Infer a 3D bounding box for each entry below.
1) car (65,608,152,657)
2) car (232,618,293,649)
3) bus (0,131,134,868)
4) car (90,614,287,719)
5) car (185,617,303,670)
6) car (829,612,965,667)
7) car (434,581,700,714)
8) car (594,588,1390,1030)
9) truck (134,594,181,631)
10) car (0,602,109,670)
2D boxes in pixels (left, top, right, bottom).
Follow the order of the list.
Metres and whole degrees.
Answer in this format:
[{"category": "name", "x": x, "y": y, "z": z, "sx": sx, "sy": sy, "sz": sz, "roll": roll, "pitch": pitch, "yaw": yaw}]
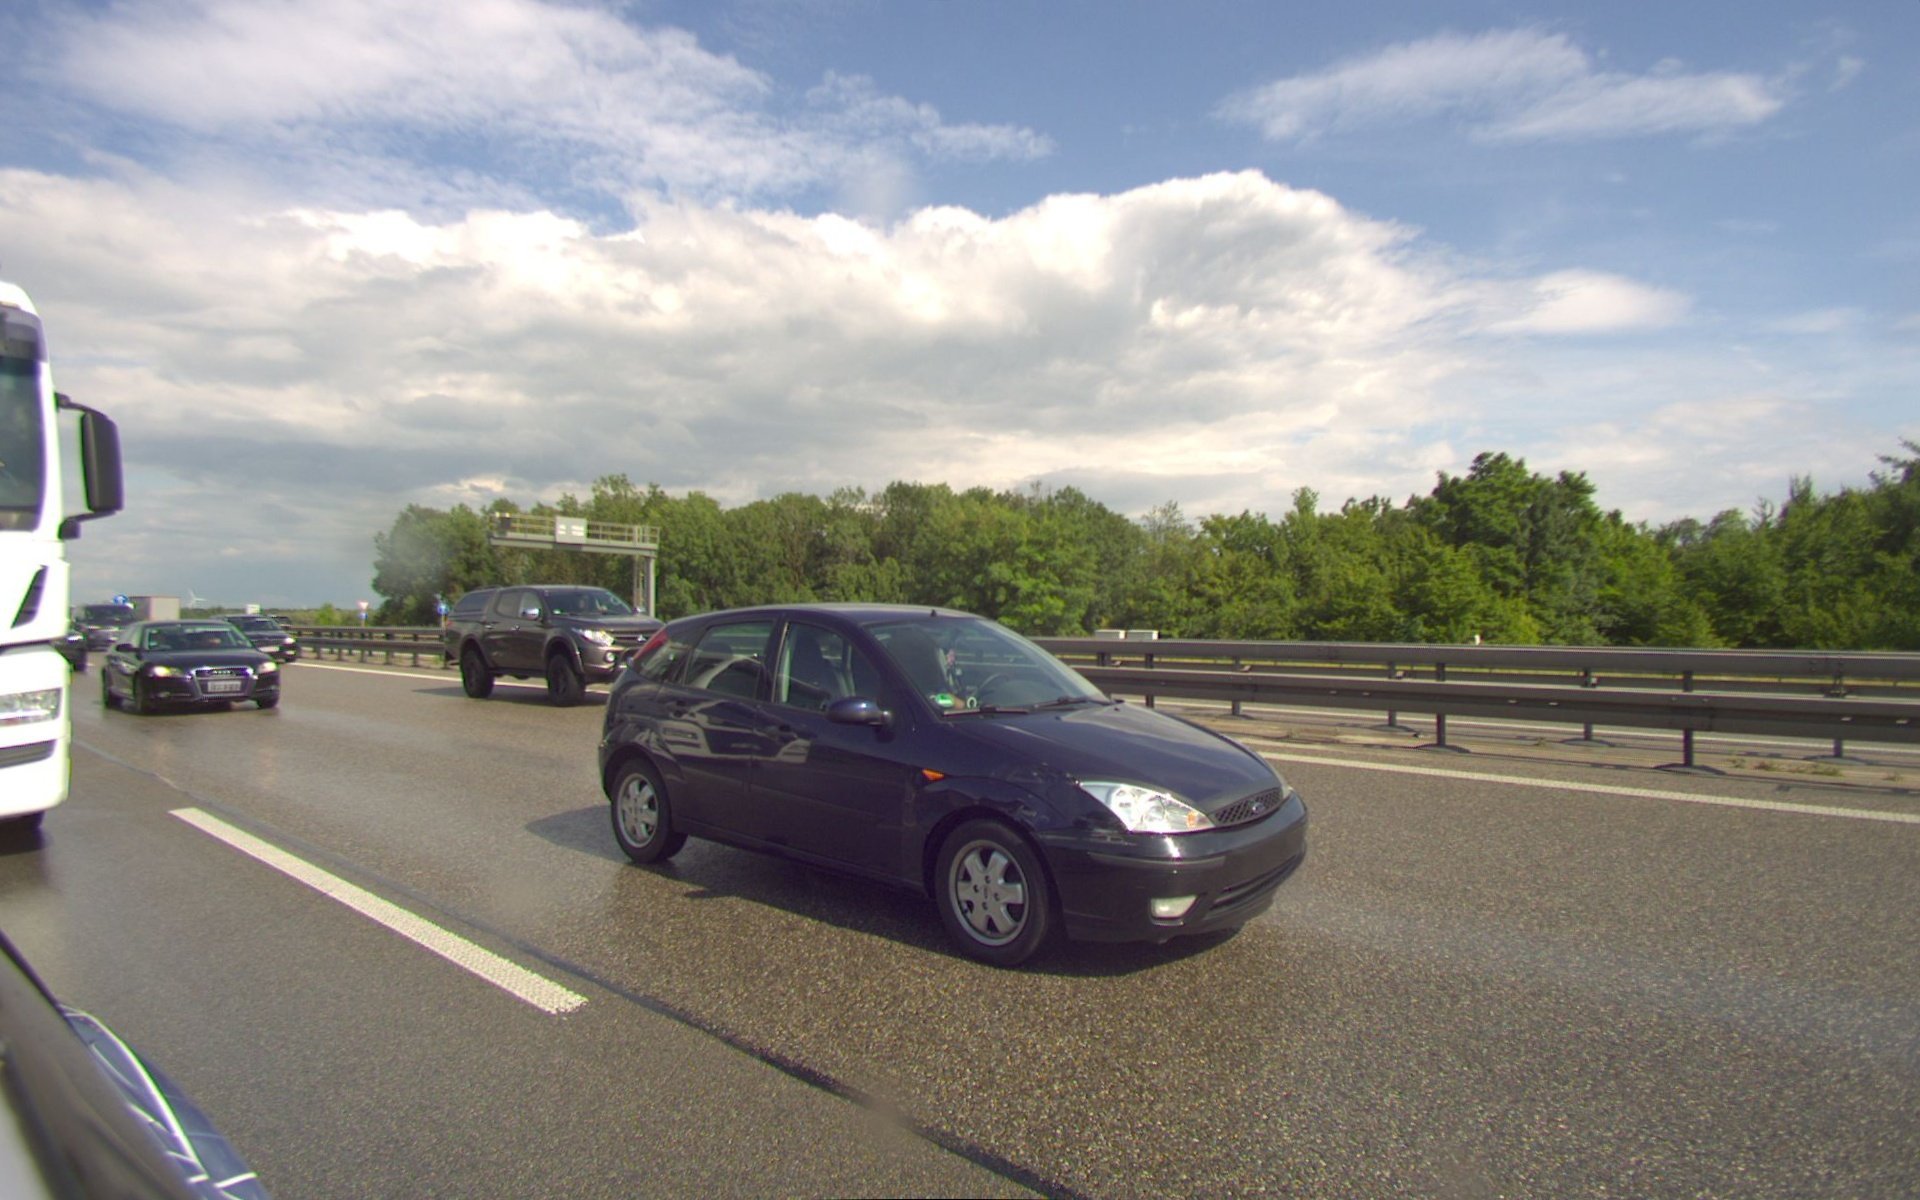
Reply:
[{"category": "car", "x": -35.919, "y": 1.350, "z": 42.638, "sx": 5.232, "sy": 1.932, "sz": 1.973, "roll": -1, "pitch": -1, "yaw": 40}, {"category": "car", "x": -36.111, "y": 1.711, "z": 52.357, "sx": 3.998, "sy": 1.529, "sz": 1.685, "roll": -1, "pitch": -1, "yaw": 41}, {"category": "bus", "x": -9.663, "y": -0.487, "z": 8.278, "sx": 9.840, "sy": 4.159, "sz": 2.867, "roll": -1, "pitch": 0, "yaw": 41}, {"category": "car", "x": -12.319, "y": 0.966, "z": 16.066, "sx": 4.052, "sy": 1.444, "sz": 1.732, "roll": -1, "pitch": -1, "yaw": 41}, {"category": "car", "x": -21.125, "y": 1.228, "z": 29.789, "sx": 4.371, "sy": 1.435, "sz": 1.900, "roll": -1, "pitch": -1, "yaw": 42}, {"category": "car", "x": -1.702, "y": 1.015, "z": 26.905, "sx": 3.439, "sy": 1.364, "sz": 1.671, "roll": -1, "pitch": -1, "yaw": 41}, {"category": "car", "x": -6.581, "y": 0.701, "z": 16.573, "sx": 5.415, "sy": 1.858, "sz": 1.788, "roll": -1, "pitch": -1, "yaw": 41}, {"category": "car", "x": -0.097, "y": 0.716, "z": 5.324, "sx": 3.998, "sy": 1.454, "sz": 1.740, "roll": -1, "pitch": -1, "yaw": 41}, {"category": "truck", "x": -87.088, "y": 1.368, "z": 109.788, "sx": 8.919, "sy": 3.913, "sz": 2.762, "roll": -1, "pitch": -1, "yaw": 44}, {"category": "car", "x": -25.009, "y": 0.943, "z": 27.660, "sx": 4.621, "sy": 1.692, "sz": 1.858, "roll": -1, "pitch": -1, "yaw": 39}]
